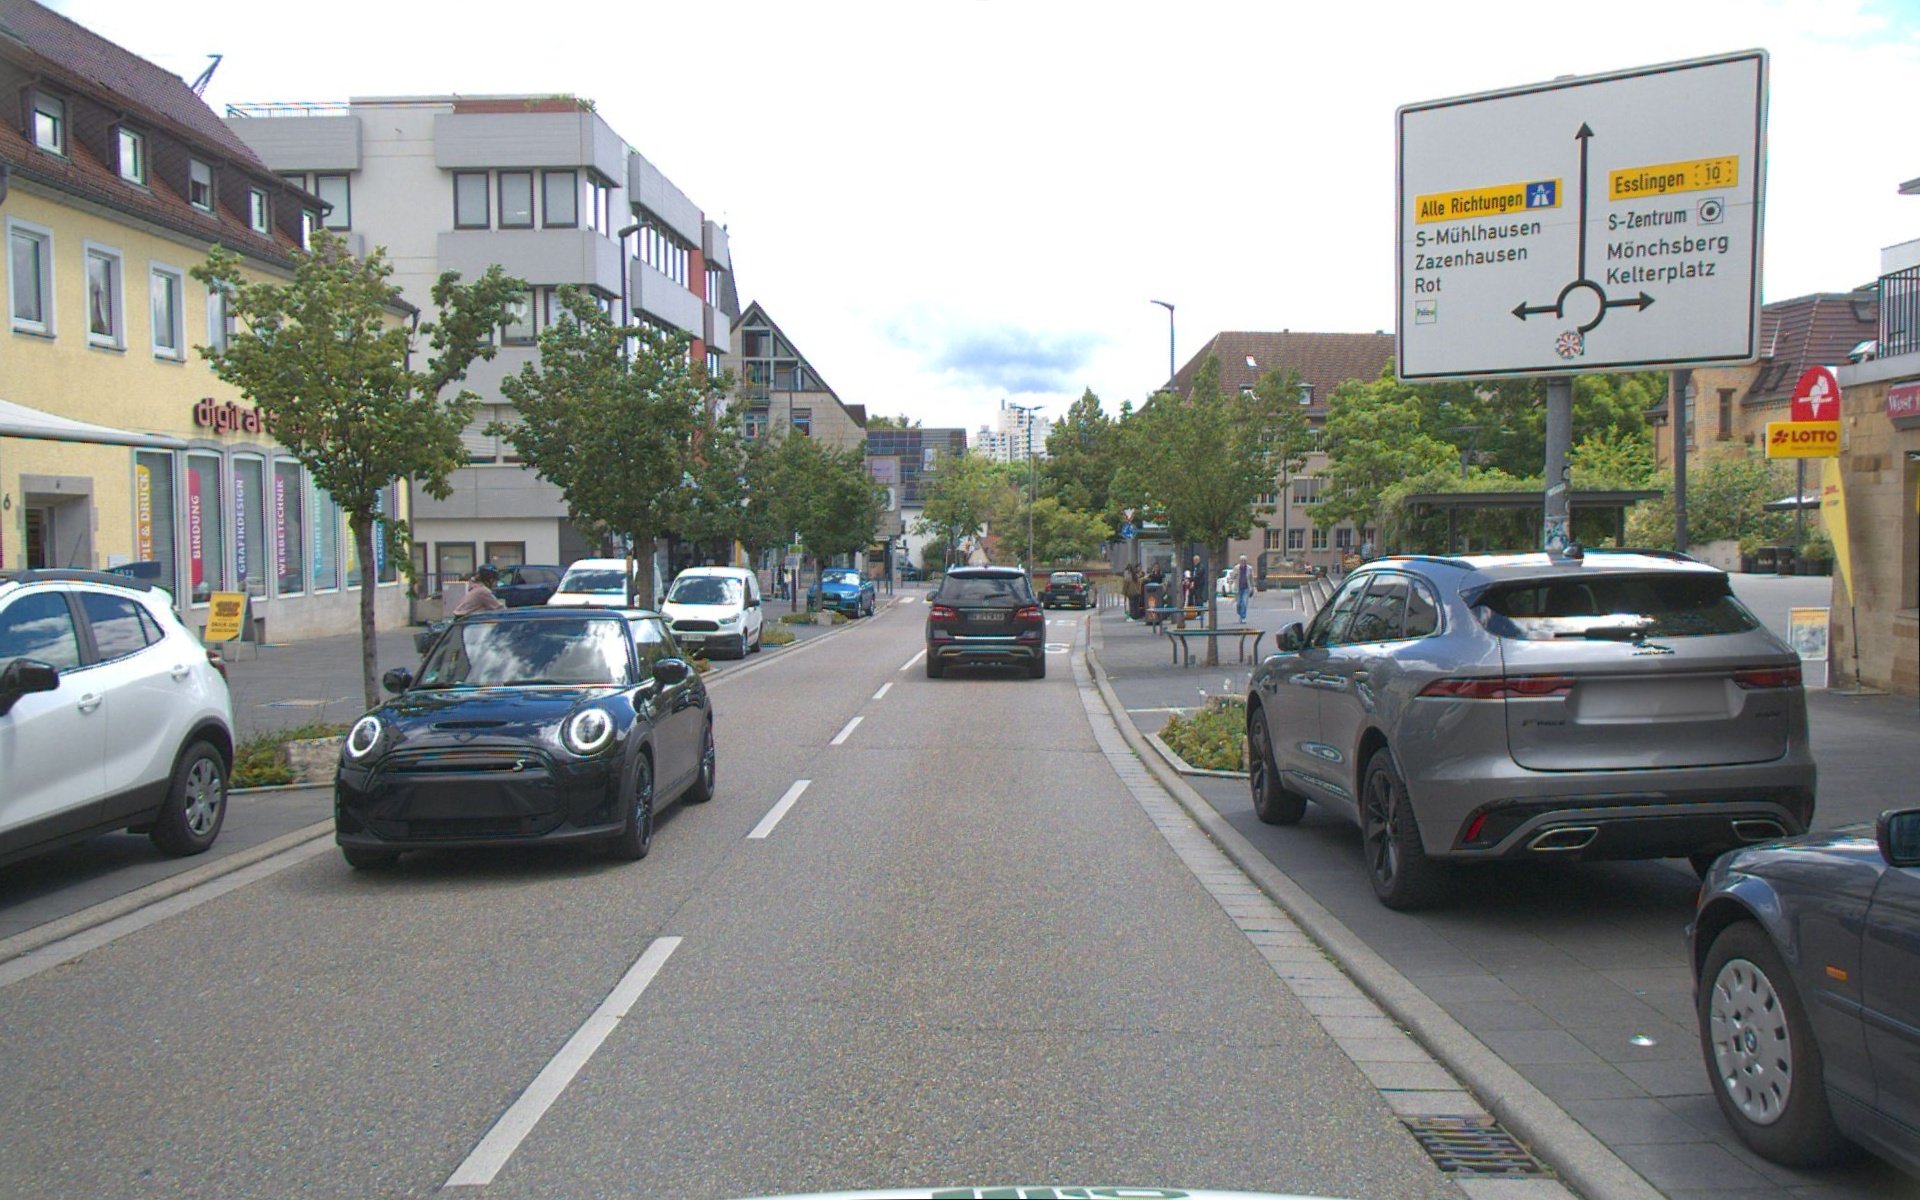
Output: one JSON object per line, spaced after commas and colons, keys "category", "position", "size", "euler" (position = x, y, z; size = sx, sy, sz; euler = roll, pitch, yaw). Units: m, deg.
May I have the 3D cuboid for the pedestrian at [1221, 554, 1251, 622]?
{"category": "pedestrian", "position": [7.010, -0.301, 42.022], "size": [0.670, 1.711, 0.715], "euler": [-1, 1, 14]}

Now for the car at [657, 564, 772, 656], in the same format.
{"category": "car", "position": [-4.827, 0.146, 32.987], "size": [1.622, 1.701, 4.351], "euler": [1, 1, 0]}

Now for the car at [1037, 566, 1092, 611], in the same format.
{"category": "car", "position": [4.061, -0.485, 65.037], "size": [2.010, 1.615, 4.375], "euler": [2, 1, 2]}

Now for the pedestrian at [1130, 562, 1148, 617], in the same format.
{"category": "pedestrian", "position": [5.269, -0.311, 48.699], "size": [0.489, 1.593, 0.498], "euler": [-1, 1, 3]}

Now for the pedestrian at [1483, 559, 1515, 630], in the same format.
{"category": "pedestrian", "position": [10.405, -0.108, 31.946], "size": [0.487, 1.343, 0.525], "euler": [-1, 3, 8]}

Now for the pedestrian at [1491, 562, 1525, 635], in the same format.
{"category": "pedestrian", "position": [10.378, -0.040, 31.331], "size": [0.484, 1.343, 0.576], "euler": [-1, 3, 7]}

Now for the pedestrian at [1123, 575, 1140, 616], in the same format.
{"category": "pedestrian", "position": [5.261, -0.133, 50.825], "size": [0.395, 1.247, 0.388], "euler": [-1, 1, 26]}

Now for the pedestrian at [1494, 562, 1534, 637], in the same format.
{"category": "pedestrian", "position": [10.254, -0.017, 30.619], "size": [0.603, 1.343, 0.586], "euler": [-1, 3, 7]}

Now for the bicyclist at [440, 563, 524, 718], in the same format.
{"category": "bicyclist", "position": [-5.508, 0.451, 19.068], "size": [0.769, 1.724, 0.503], "euler": [-2, 1, -36]}

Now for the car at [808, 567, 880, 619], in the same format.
{"category": "car", "position": [-3.917, -0.270, 56.316], "size": [1.658, 1.627, 4.335], "euler": [2, 1, 6]}

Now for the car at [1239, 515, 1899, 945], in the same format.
{"category": "car", "position": [2.913, 0.511, 9.135], "size": [1.889, 1.754, 4.573], "euler": [-1, 1, -1]}

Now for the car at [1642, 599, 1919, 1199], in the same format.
{"category": "car", "position": [2.920, 0.696, 2.904], "size": [1.646, 1.442, 4.371], "euler": [-1, -1, 0]}

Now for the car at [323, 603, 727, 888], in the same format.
{"category": "car", "position": [-2.536, 0.764, 10.484], "size": [1.574, 1.412, 3.629], "euler": [-2, 0, 0]}

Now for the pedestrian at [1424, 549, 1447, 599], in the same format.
{"category": "pedestrian", "position": [12.934, -0.704, 44.975], "size": [0.555, 1.346, 0.546], "euler": [0, 1, 13]}

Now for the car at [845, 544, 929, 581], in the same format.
{"category": "car", "position": [-5.635, -2.849, 127.846], "size": [6.186, 2.605, 2.195], "euler": [1, -2, -18]}

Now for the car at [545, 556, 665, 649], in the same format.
{"category": "car", "position": [-7.589, 0.007, 35.738], "size": [1.721, 1.845, 4.475], "euler": [1, 1, -2]}

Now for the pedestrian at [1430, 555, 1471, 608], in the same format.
{"category": "pedestrian", "position": [12.144, -0.455, 40.961], "size": [0.671, 1.291, 0.759], "euler": [-1, 2, -43]}

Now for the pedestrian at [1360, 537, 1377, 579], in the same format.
{"category": "pedestrian", "position": [15.002, -1.542, 60.722], "size": [0.492, 1.534, 0.454], "euler": [-1, 2, -4]}

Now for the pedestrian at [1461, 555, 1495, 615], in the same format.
{"category": "pedestrian", "position": [11.633, -0.344, 37.138], "size": [0.610, 1.330, 0.546], "euler": [-1, 1, 7]}

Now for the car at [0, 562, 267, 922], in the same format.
{"category": "car", "position": [-5.251, 0.639, 8.430], "size": [1.631, 1.675, 4.134], "euler": [1, 1, 1]}

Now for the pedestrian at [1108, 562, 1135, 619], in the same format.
{"category": "pedestrian", "position": [4.537, -0.257, 46.455], "size": [0.482, 1.576, 0.535], "euler": [-2, 1, -42]}

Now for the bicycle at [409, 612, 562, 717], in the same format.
{"category": "bicycle", "position": [-5.453, 0.725, 19.068], "size": [1.636, 1.106, 0.408], "euler": [-2, 1, -37]}

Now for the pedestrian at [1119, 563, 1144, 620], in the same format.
{"category": "pedestrian", "position": [4.777, -0.238, 45.984], "size": [0.503, 1.576, 0.486], "euler": [-1, 1, 30]}

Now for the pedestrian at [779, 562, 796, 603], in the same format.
{"category": "pedestrian", "position": [-6.924, -0.700, 66.462], "size": [0.574, 1.616, 0.639], "euler": [1, 1, 5]}

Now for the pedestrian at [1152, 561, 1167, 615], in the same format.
{"category": "pedestrian", "position": [5.860, -0.353, 48.651], "size": [0.385, 1.593, 0.352], "euler": [-1, 1, 2]}

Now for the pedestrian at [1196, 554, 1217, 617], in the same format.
{"category": "pedestrian", "position": [6.835, -0.407, 45.922], "size": [0.500, 1.709, 0.577], "euler": [-1, 1, 3]}

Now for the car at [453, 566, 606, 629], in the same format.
{"category": "car", "position": [-11.114, -0.088, 42.884], "size": [3.555, 1.585, 1.668], "euler": [0, 1, -3]}

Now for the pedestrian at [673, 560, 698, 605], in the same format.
{"category": "pedestrian", "position": [-9.763, -0.615, 58.837], "size": [0.581, 1.593, 0.635], "euler": [-2, 1, -40]}

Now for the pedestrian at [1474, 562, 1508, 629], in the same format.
{"category": "pedestrian", "position": [10.458, -0.096, 32.582], "size": [0.556, 1.283, 0.542], "euler": [-1, 3, 8]}

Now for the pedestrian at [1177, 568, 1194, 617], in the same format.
{"category": "pedestrian", "position": [6.275, -0.210, 46.006], "size": [0.381, 1.329, 0.355], "euler": [-3, 1, 5]}

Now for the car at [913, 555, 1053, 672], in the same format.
{"category": "car", "position": [0.292, 0.239, 27.270], "size": [1.987, 1.757, 4.430], "euler": [1, -1, -3]}

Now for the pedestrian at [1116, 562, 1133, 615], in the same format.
{"category": "pedestrian", "position": [5.165, -0.371, 51.823], "size": [0.379, 1.648, 0.469], "euler": [-2, 1, 17]}
